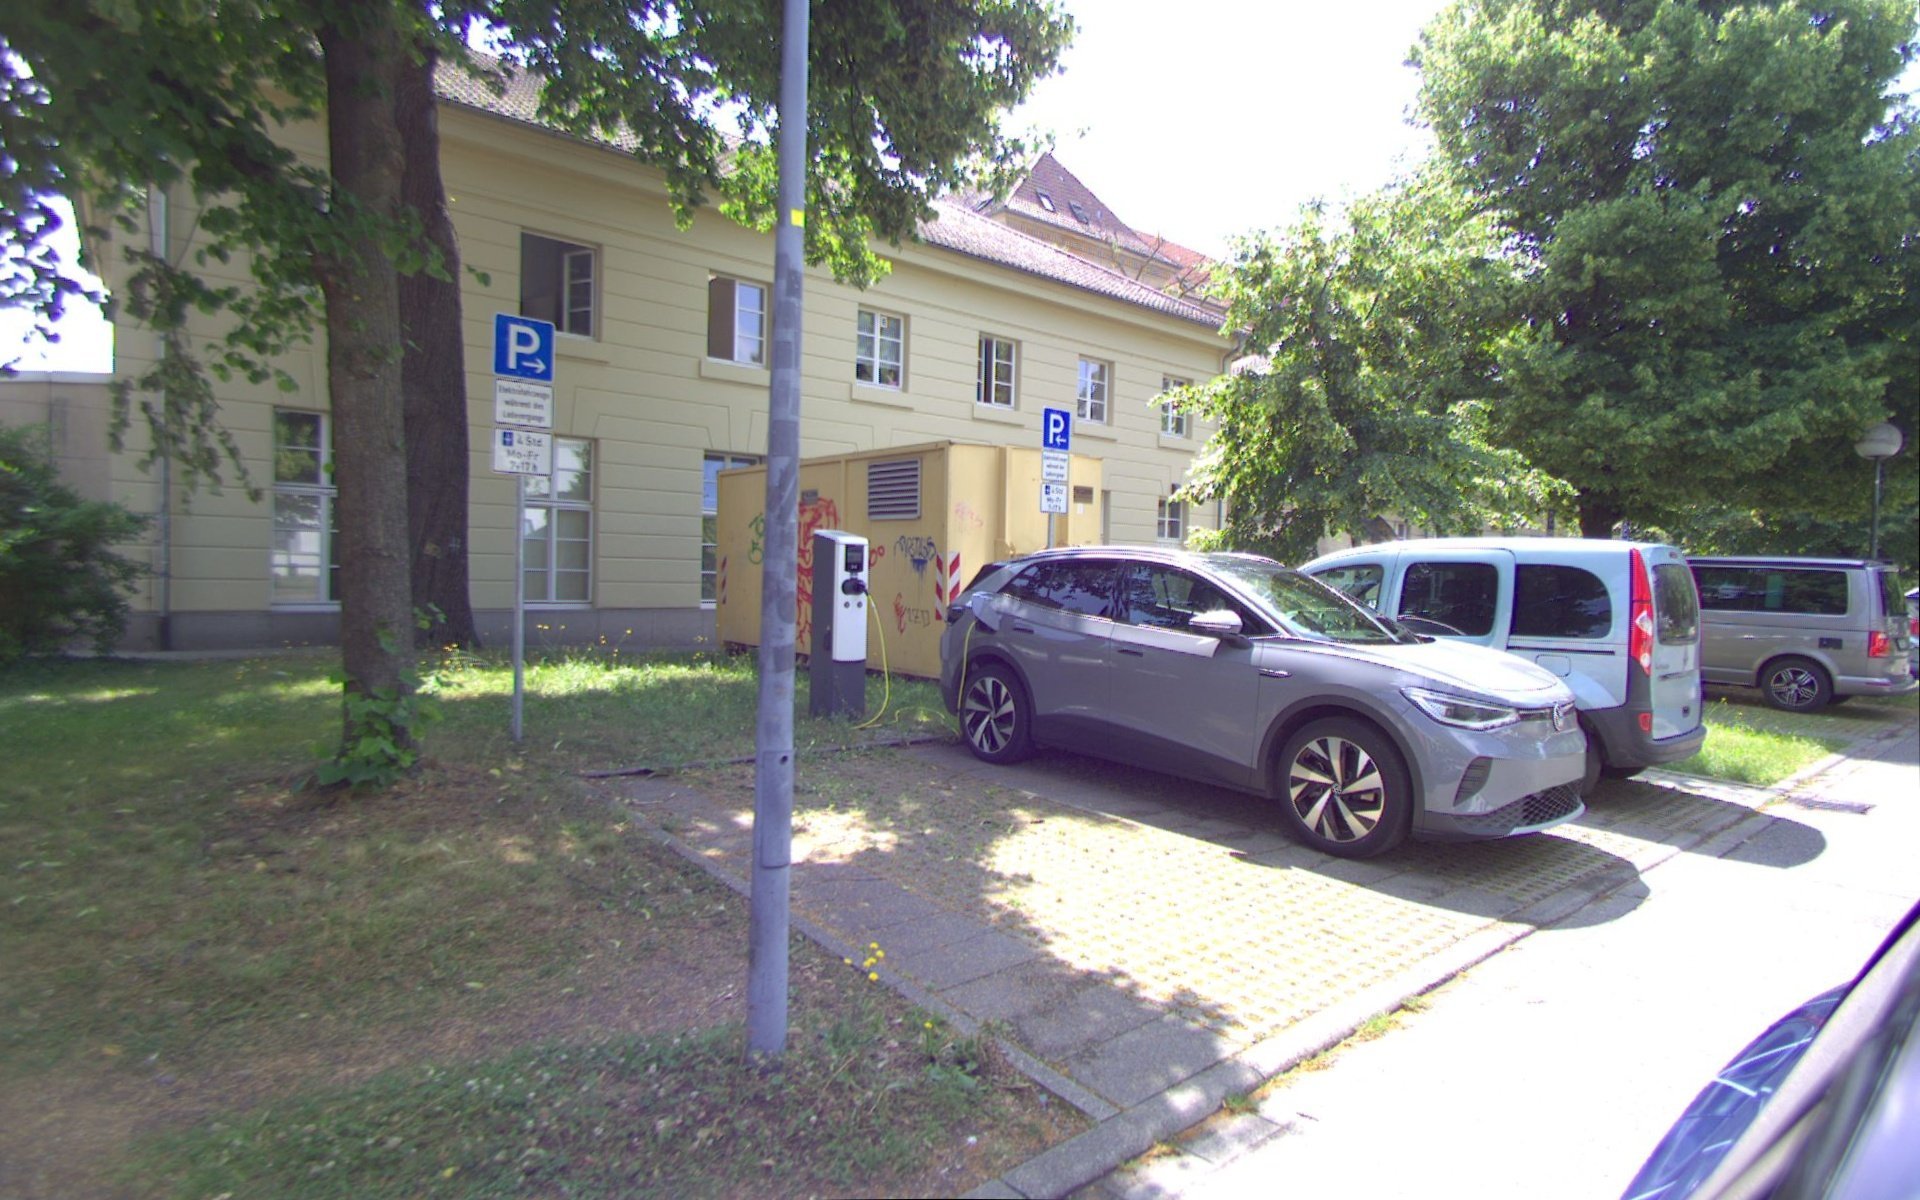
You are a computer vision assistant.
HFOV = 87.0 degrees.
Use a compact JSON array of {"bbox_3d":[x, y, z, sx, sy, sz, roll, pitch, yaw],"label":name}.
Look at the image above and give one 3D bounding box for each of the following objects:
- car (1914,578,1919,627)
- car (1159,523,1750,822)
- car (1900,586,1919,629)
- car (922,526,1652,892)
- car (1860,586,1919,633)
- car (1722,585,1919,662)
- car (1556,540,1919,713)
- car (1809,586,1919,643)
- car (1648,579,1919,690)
[{"bbox_3d":[39.159,0.152,38.573,1.749,1.903,3.853,0,2,-38],"label":"car"},{"bbox_3d":[3.819,0.366,8.384,1.792,1.860,3.995,0,2,-41],"label":"car"},{"bbox_3d":[37.032,0.346,36.880,1.671,1.595,3.853,0,2,-38],"label":"car"},{"bbox_3d":[1.840,0.380,6.878,1.862,1.672,4.358,0,3,-41],"label":"car"},{"bbox_3d":[33.610,0.371,34.718,1.692,1.540,3.853,0,2,-38],"label":"car"},{"bbox_3d":[20.221,0.488,23.375,1.754,1.552,3.853,0,2,-38],"label":"car"},{"bbox_3d":[10.874,0.231,14.021,1.964,2.038,4.050,0,2,-38],"label":"car"},{"bbox_3d":[26.791,0.411,28.714,1.692,1.506,3.853,0,2,-38],"label":"car"},{"bbox_3d":[14.328,0.501,17.322,1.754,1.614,3.853,0,2,-38],"label":"car"}]
